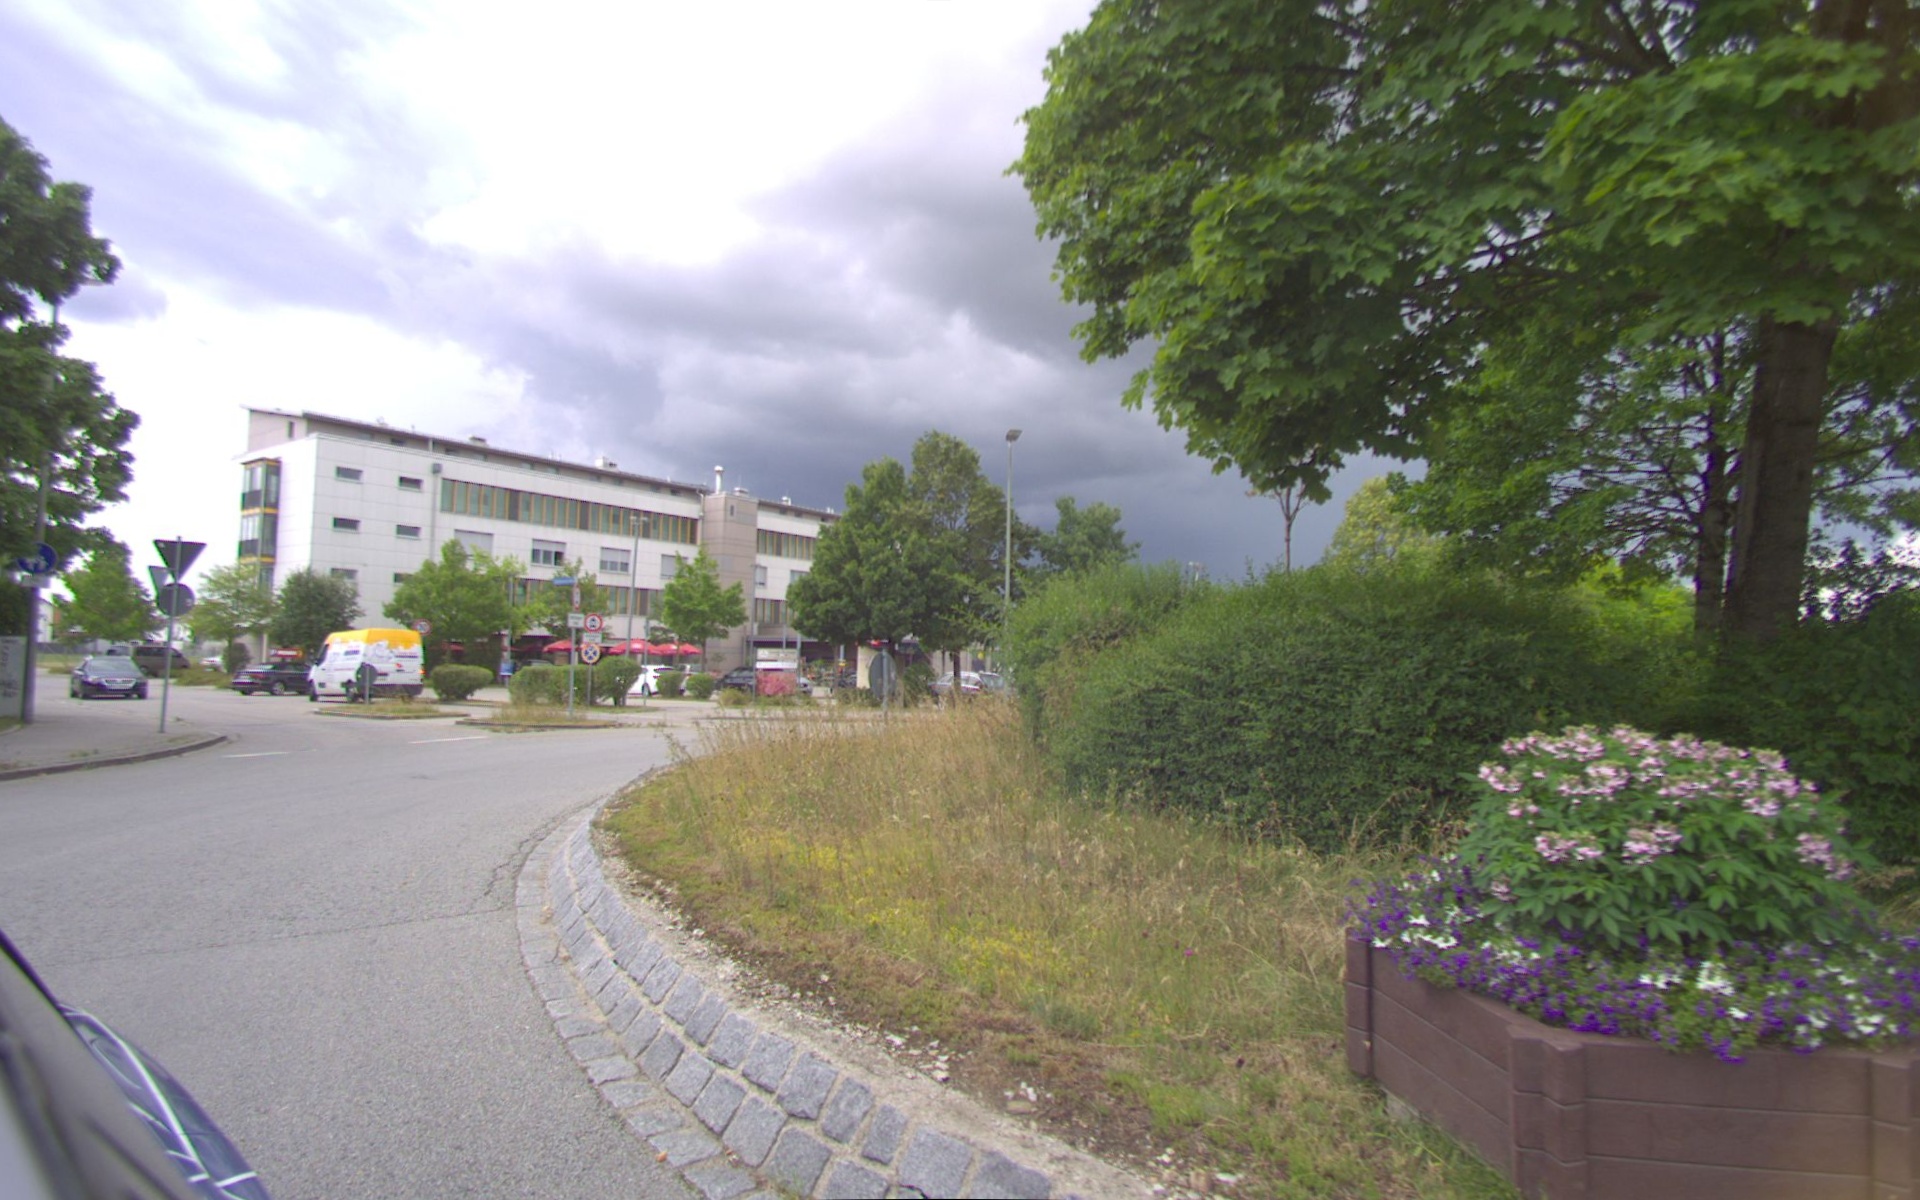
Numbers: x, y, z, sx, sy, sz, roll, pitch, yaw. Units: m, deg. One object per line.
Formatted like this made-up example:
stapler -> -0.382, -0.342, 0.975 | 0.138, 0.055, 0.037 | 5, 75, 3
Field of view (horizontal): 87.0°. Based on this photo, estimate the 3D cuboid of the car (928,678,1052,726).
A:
car -> 0.982, 3.520, 35.242 | 1.735, 1.505, 4.422 | 6, -6, -41

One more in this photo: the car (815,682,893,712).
car -> -5.730, 5.258, 54.654 | 4.077, 1.551, 1.759 | -5, -8, 35

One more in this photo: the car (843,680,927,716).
car -> -3.534, 4.550, 47.245 | 1.794, 1.554, 4.004 | 5, -7, -42

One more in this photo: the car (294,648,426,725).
car -> -20.882, 3.033, 35.152 | 5.437, 2.471, 2.140 | -5, -8, 40

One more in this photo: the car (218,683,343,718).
car -> -28.332, 4.172, 42.326 | 1.790, 1.342, 3.967 | -1, -5, 24

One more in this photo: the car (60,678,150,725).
car -> -30.027, 3.531, 35.508 | 3.999, 1.475, 1.776 | -3, -6, 42

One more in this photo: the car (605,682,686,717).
car -> -14.161, 4.477, 45.464 | 4.001, 1.468, 1.795 | -6, -8, 44

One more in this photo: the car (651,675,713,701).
car -> -16.724, 5.292, 60.799 | 4.001, 1.468, 1.795 | -4, -6, 44

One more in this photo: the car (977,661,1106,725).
car -> 2.922, 3.352, 36.948 | 2.123, 2.175, 4.422 | 6, -6, -41

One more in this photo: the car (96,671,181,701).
car -> -49.137, 5.119, 60.638 | 1.634, 1.746, 3.994 | -1, -4, 4

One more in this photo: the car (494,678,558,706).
car -> -23.845, 5.022, 55.528 | 4.001, 1.468, 1.795 | -4, -6, 44

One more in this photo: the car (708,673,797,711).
car -> -8.665, 3.807, 42.098 | 1.794, 1.468, 4.004 | 5, -6, -42
